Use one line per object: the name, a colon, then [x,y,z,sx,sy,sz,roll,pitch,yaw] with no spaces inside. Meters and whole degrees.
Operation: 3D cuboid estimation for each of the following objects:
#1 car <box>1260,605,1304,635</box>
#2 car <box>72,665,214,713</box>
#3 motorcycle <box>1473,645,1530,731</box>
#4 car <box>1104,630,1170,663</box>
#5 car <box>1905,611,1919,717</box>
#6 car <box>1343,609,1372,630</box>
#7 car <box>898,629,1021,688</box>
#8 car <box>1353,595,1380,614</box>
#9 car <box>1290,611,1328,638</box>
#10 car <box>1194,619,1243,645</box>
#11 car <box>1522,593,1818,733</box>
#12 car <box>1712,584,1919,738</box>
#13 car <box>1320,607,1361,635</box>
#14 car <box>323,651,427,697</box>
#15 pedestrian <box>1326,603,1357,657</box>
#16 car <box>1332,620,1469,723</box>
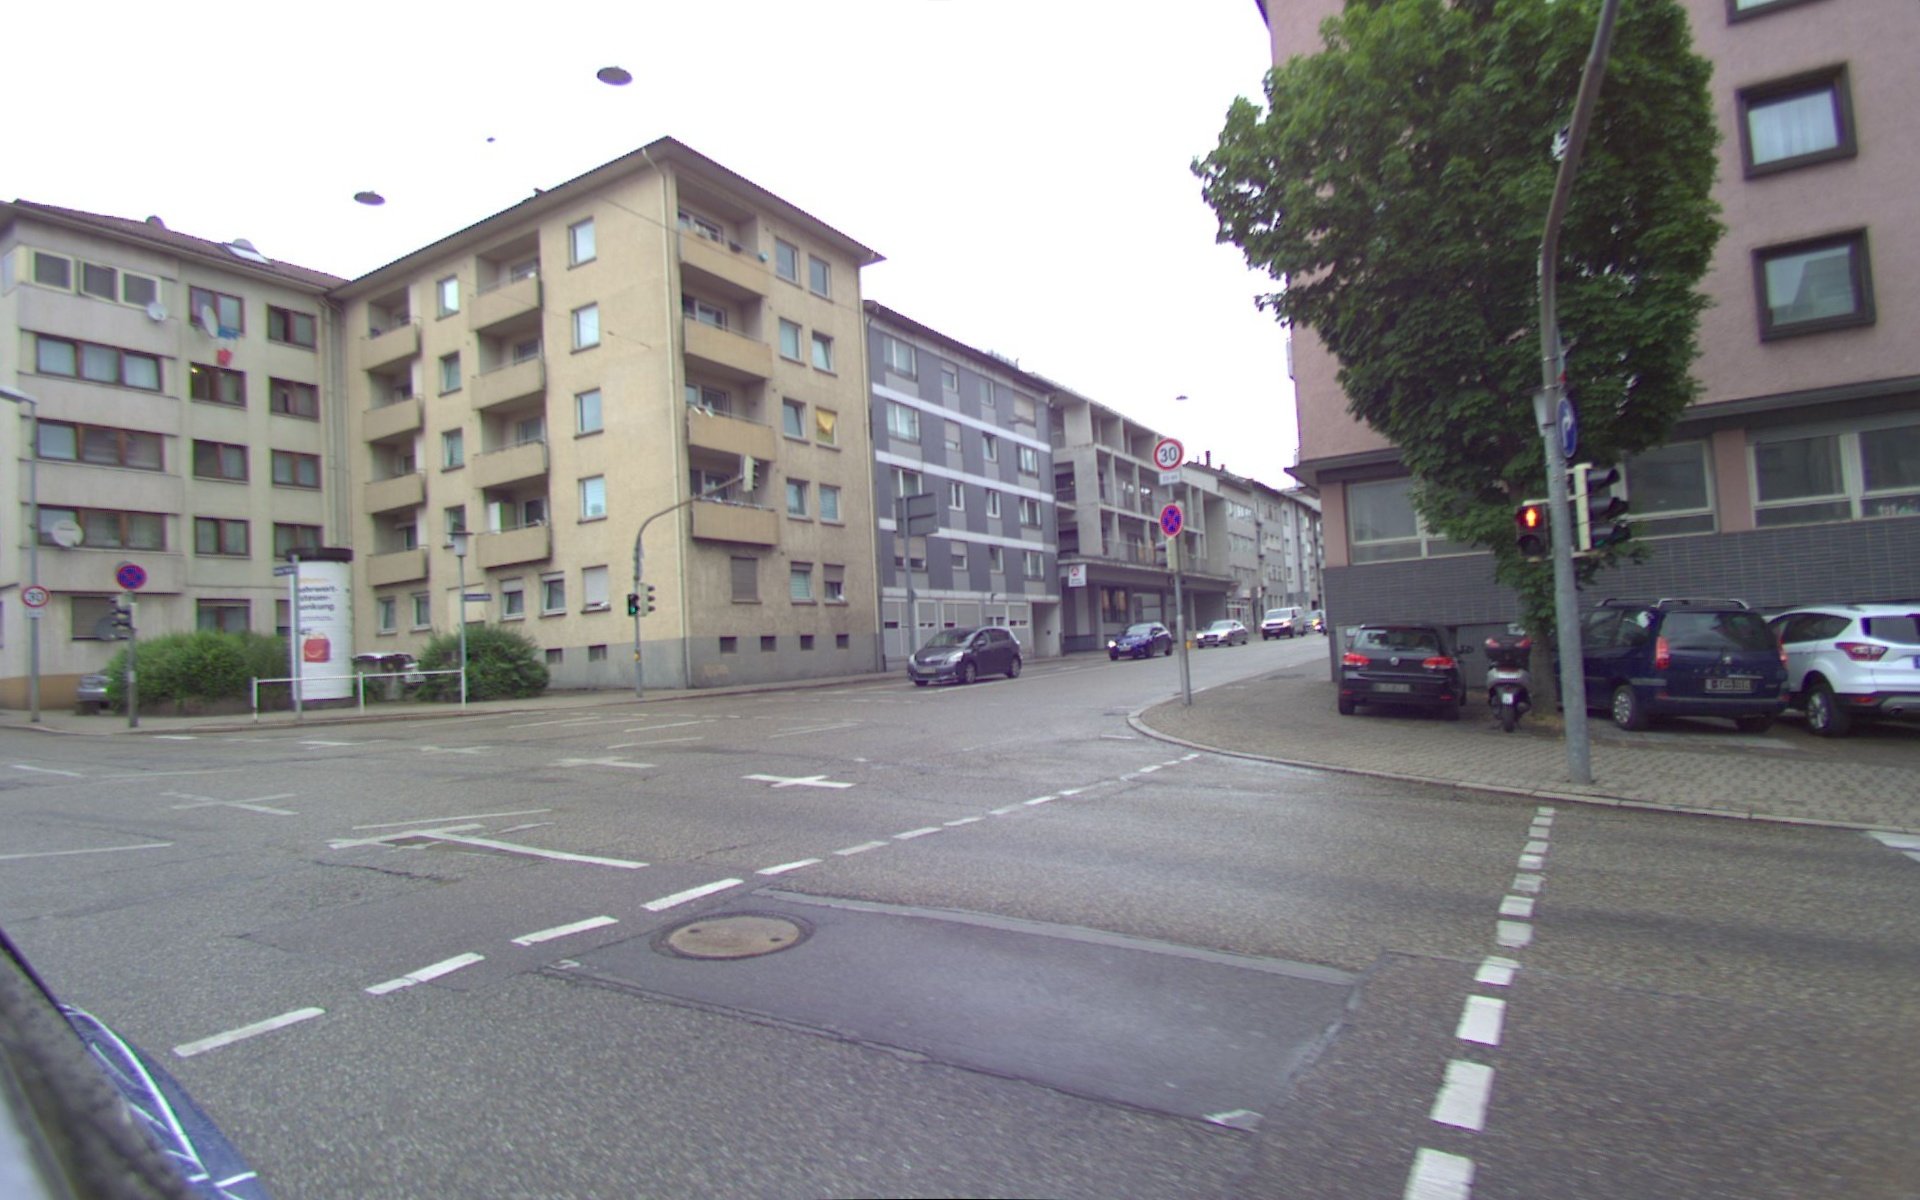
car: [20.346,1.256,63.882,1.717,1.674,3.639,-6,-3,32]
car: [-25.865,2.802,32.123,1.377,1.201,3.229,-5,-2,31]
motorcycle: [7.442,1.180,13.952,0.450,1.040,1.781,-3,-1,22]
car: [7.308,1.875,41.610,1.684,1.157,3.966,-3,-1,25]
car: [14.147,0.888,12.607,1.845,1.507,3.978,0,-1,17]
car: [37.194,1.795,94.610,1.717,1.674,3.639,-6,-3,32]
car: [0.058,1.630,29.077,1.726,1.492,4.031,-5,-4,29]
car: [40.122,0.479,99.922,1.717,1.674,3.639,-6,-3,32]
car: [25.149,1.754,72.834,1.717,1.674,3.639,-6,-3,32]
car: [13.496,1.656,52.802,1.543,1.076,3.062,-6,-3,32]
car: [10.118,0.819,14.906,1.753,1.741,4.336,0,-1,8]
car: [12.219,0.778,13.721,1.843,1.807,3.981,0,-2,15]
car: [24.796,1.341,65.826,1.804,1.728,4.501,-2,-1,29]
car: [-20.781,2.620,35.949,3.311,1.485,1.749,-2,-1,30]
pedestrian: [11.555,0.906,30.628,0.521,1.569,0.452,-8,0,-15]
car: [7.324,1.083,16.614,1.730,1.370,3.962,-2,0,28]
